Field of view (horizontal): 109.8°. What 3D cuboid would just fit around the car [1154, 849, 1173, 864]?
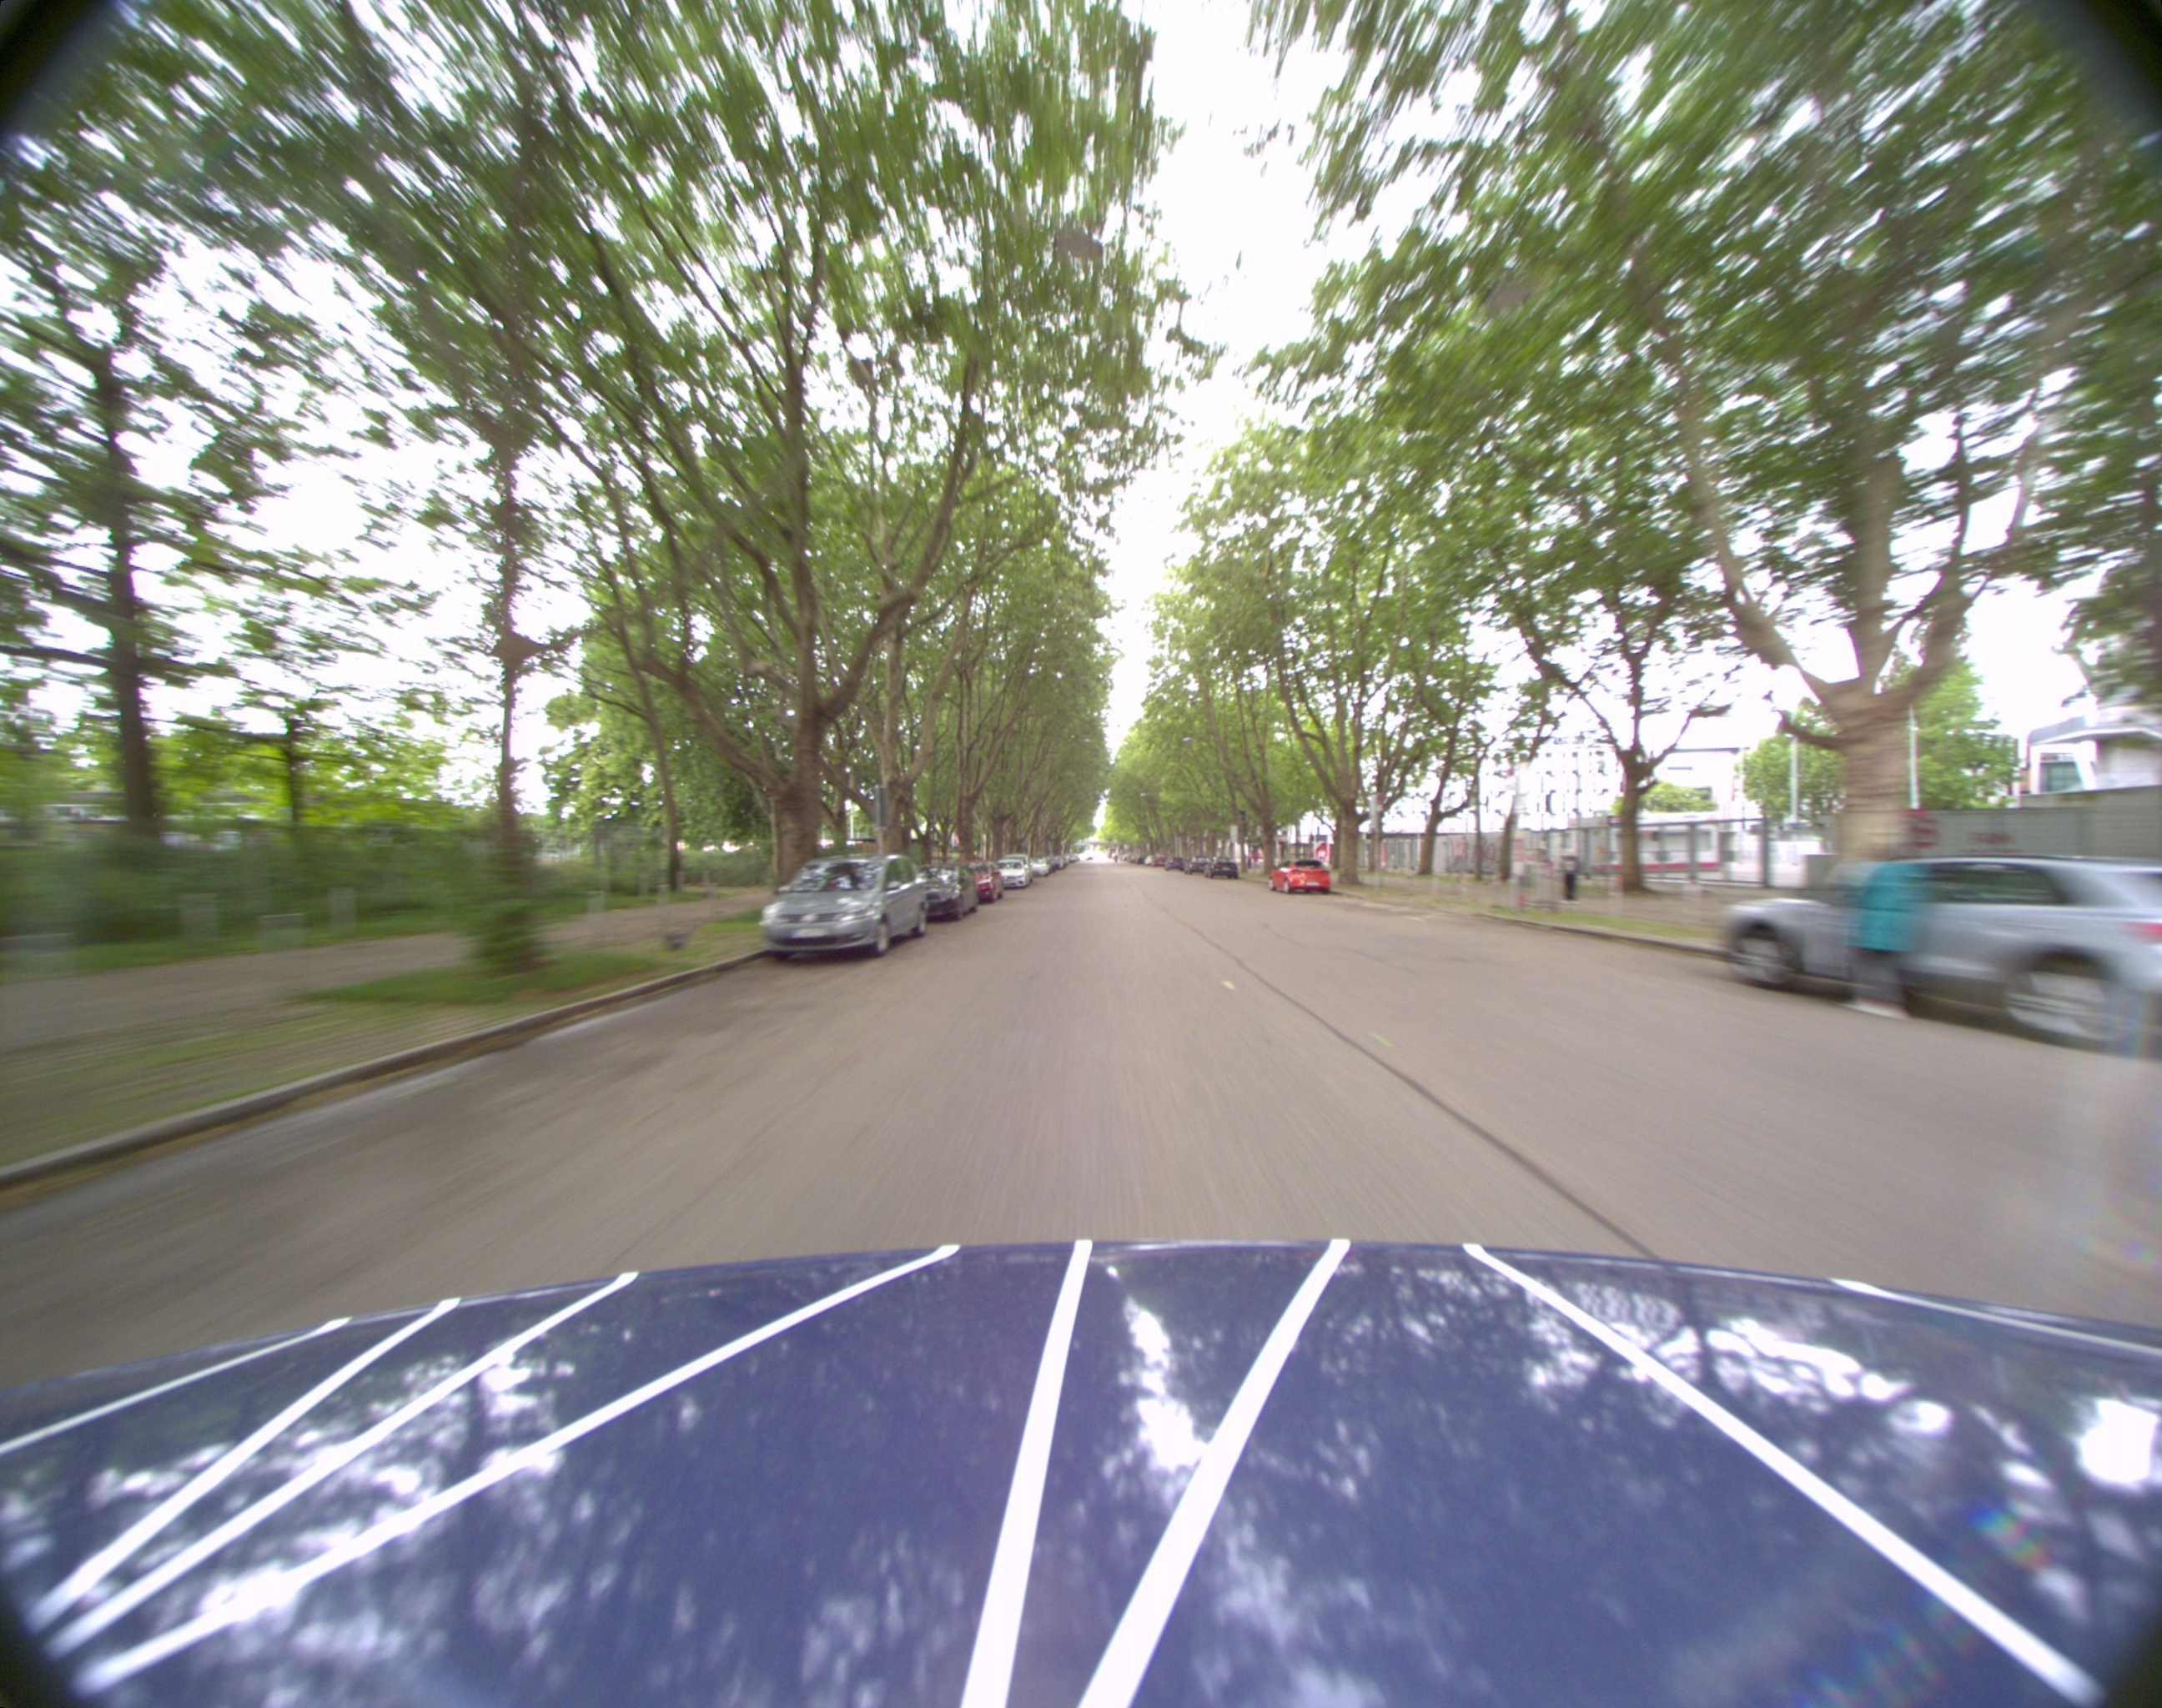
[{"bbox_3d":[10.416,0.309,96.427,1.954,1.740,4.638,1,0,0],"label":"car"}]

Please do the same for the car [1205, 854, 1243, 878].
[{"bbox_3d":[9.278,0.754,49.481,1.831,1.457,4.628,1,0,3],"label":"car"}]

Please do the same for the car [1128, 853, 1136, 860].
[{"bbox_3d":[11.990,0.669,178.567,1.822,1.584,4.345,3,0,3],"label":"car"}]

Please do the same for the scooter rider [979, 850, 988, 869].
[{"bbox_3d":[-9.617,0.560,74.927,0.678,1.789,0.587,2,0,1],"label":"scooter rider"}]

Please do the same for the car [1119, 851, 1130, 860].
[{"bbox_3d":[9.316,0.393,163.081,1.900,1.785,4.612,2,0,0],"label":"car"}]

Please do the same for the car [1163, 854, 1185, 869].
[{"bbox_3d":[9.584,0.796,78.444,1.729,1.477,4.574,0,0,1],"label":"car"}]

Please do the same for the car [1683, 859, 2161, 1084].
[{"bbox_3d":[8.753,0.848,7.412,2.078,1.554,4.756,-1,0,1],"label":"car"}]

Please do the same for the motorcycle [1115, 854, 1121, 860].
[{"bbox_3d":[7.071,0.542,144.393,0.875,1.073,3.052,-1,0,-3],"label":"motorcycle"}]

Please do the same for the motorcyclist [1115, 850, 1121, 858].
[{"bbox_3d":[7.056,-0.027,144.418,0.872,1.471,1.265,-1,0,-3],"label":"motorcyclist"}]

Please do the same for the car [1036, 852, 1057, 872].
[{"bbox_3d":[-3.137,0.736,70.630,1.712,1.688,4.630,-2,0,-1],"label":"car"}]

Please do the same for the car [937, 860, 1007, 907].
[{"bbox_3d":[-3.850,1.004,27.403,1.861,1.473,4.177,-1,0,1],"label":"car"}]

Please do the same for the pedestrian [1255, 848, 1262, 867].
[{"bbox_3d":[16.332,0.328,69.868,0.575,1.732,0.768,0,1,16],"label":"pedestrian"}]

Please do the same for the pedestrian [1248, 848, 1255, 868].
[{"bbox_3d":[15.699,0.358,70.000,0.577,1.759,0.768,0,1,16],"label":"pedestrian"}]

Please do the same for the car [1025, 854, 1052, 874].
[{"bbox_3d":[-3.183,0.768,57.914,1.711,1.419,3.889,-2,0,1],"label":"car"}]

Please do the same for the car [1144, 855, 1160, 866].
[{"bbox_3d":[10.286,0.912,110.486,1.908,1.394,4.751,3,0,1],"label":"car"}]

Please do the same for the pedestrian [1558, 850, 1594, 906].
[{"bbox_3d":[14.397,0.692,22.116,0.593,1.610,0.792,-1,1,10],"label":"pedestrian"}]

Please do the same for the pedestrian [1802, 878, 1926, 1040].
[{"bbox_3d":[7.449,0.979,7.254,0.585,1.458,0.567,-2,1,4],"label":"pedestrian"}]

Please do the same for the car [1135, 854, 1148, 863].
[{"bbox_3d":[10.205,0.781,128.451,1.838,1.486,4.443,3,0,1],"label":"car"}]

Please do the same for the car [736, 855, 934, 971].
[{"bbox_3d":[-4.119,0.880,13.669,1.986,1.670,4.731,-1,1,0],"label":"car"}]

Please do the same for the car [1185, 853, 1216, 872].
[{"bbox_3d":[9.519,0.655,60.977,1.882,1.518,4.151,0,0,1],"label":"car"}]

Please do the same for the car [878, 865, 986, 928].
[{"bbox_3d":[-3.850,1.050,20.427,1.881,1.419,4.480,-1,0,2],"label":"car"}]

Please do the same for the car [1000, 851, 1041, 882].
[{"bbox_3d":[-3.505,0.709,44.775,1.907,1.728,4.506,-1,0,1],"label":"car"}]

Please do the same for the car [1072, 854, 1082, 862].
[{"bbox_3d":[-0.766,0.754,147.507,1.998,1.469,4.371,-2,0,1],"label":"car"}]

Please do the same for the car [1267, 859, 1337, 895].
[{"bbox_3d":[9.025,0.903,31.333,1.813,1.346,4.000,-1,0,1],"label":"car"}]

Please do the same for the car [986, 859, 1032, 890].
[{"bbox_3d":[-3.563,0.991,38.289,1.882,1.419,4.586,-1,0,0],"label":"car"}]

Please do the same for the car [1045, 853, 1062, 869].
[{"bbox_3d":[-2.995,0.791,83.466,1.782,1.663,4.637,-1,0,0],"label":"car"}]
